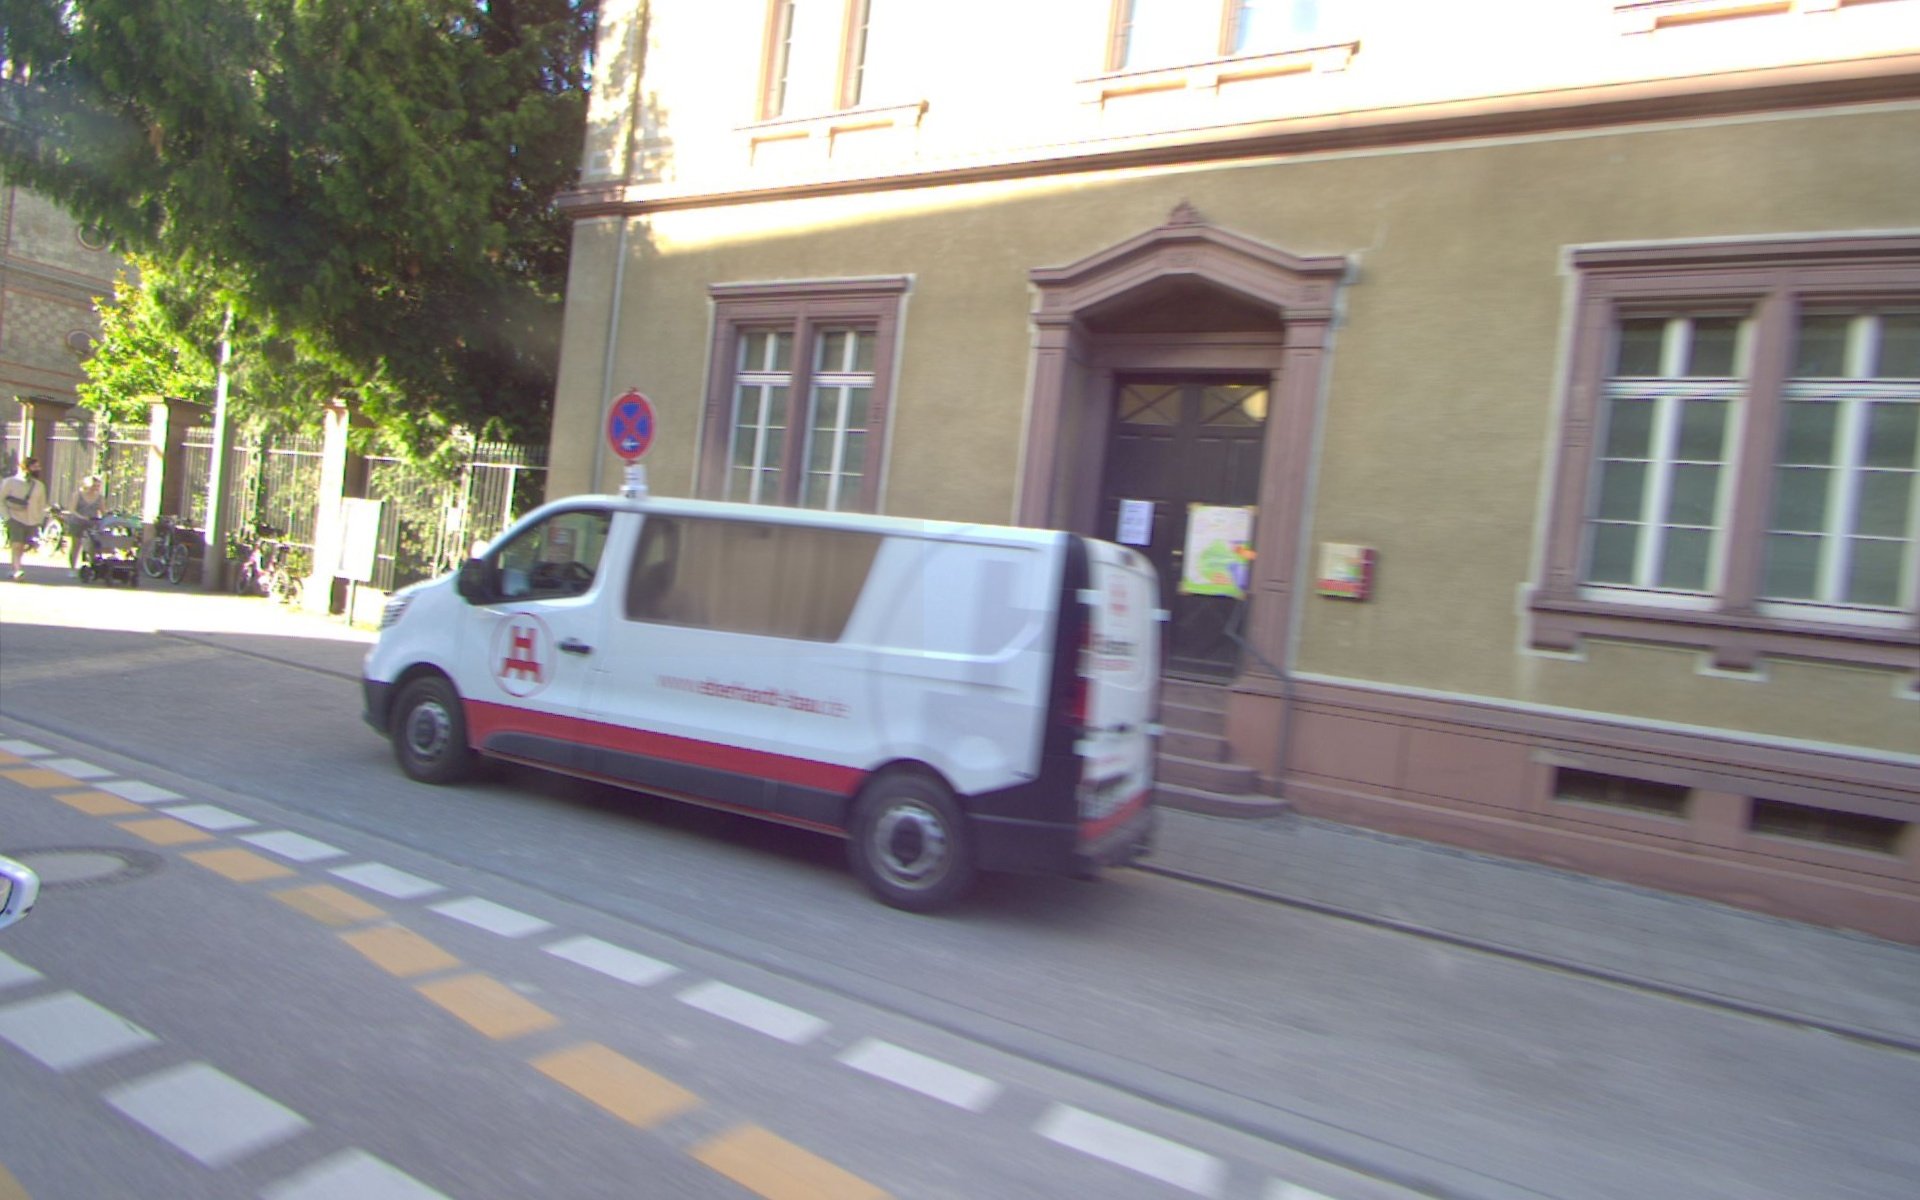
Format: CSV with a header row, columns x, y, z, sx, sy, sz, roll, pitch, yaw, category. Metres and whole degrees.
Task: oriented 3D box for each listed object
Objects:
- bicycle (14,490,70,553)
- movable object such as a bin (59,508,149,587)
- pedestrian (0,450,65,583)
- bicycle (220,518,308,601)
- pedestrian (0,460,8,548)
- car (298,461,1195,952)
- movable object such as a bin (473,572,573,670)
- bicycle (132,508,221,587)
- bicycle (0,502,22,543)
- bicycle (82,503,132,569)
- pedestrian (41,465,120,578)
x,y,z,sx,sy,sz,roll,pitch,yaw,category
-18.318,-1.578,20.067,1.653,1.121,0.398,7,3,33,bicycle
-13.644,-0.830,16.038,1.032,1.133,0.712,8,4,26,movable object such as a bin
-14.303,-1.271,15.267,0.874,1.919,0.716,8,3,26,pedestrian
-11.276,-0.670,16.280,1.795,1.172,0.418,7,4,31,bicycle
-20.127,-2.013,20.604,0.725,1.791,0.639,7,2,31,pedestrian
-1.455,0.403,6.556,5.382,1.969,2.020,7,-1,23,car
-5.223,0.254,12.051,0.561,1.087,0.869,7,2,29,movable object such as a bin
-13.368,-0.902,17.148,1.894,1.144,0.395,7,2,28,bicycle
-20.542,-1.690,21.493,1.426,0.803,0.264,7,2,29,bicycle
-15.978,-1.206,18.835,1.507,1.121,0.274,7,4,33,bicycle
-14.332,-1.267,16.400,0.681,1.724,0.683,8,3,27,pedestrian
